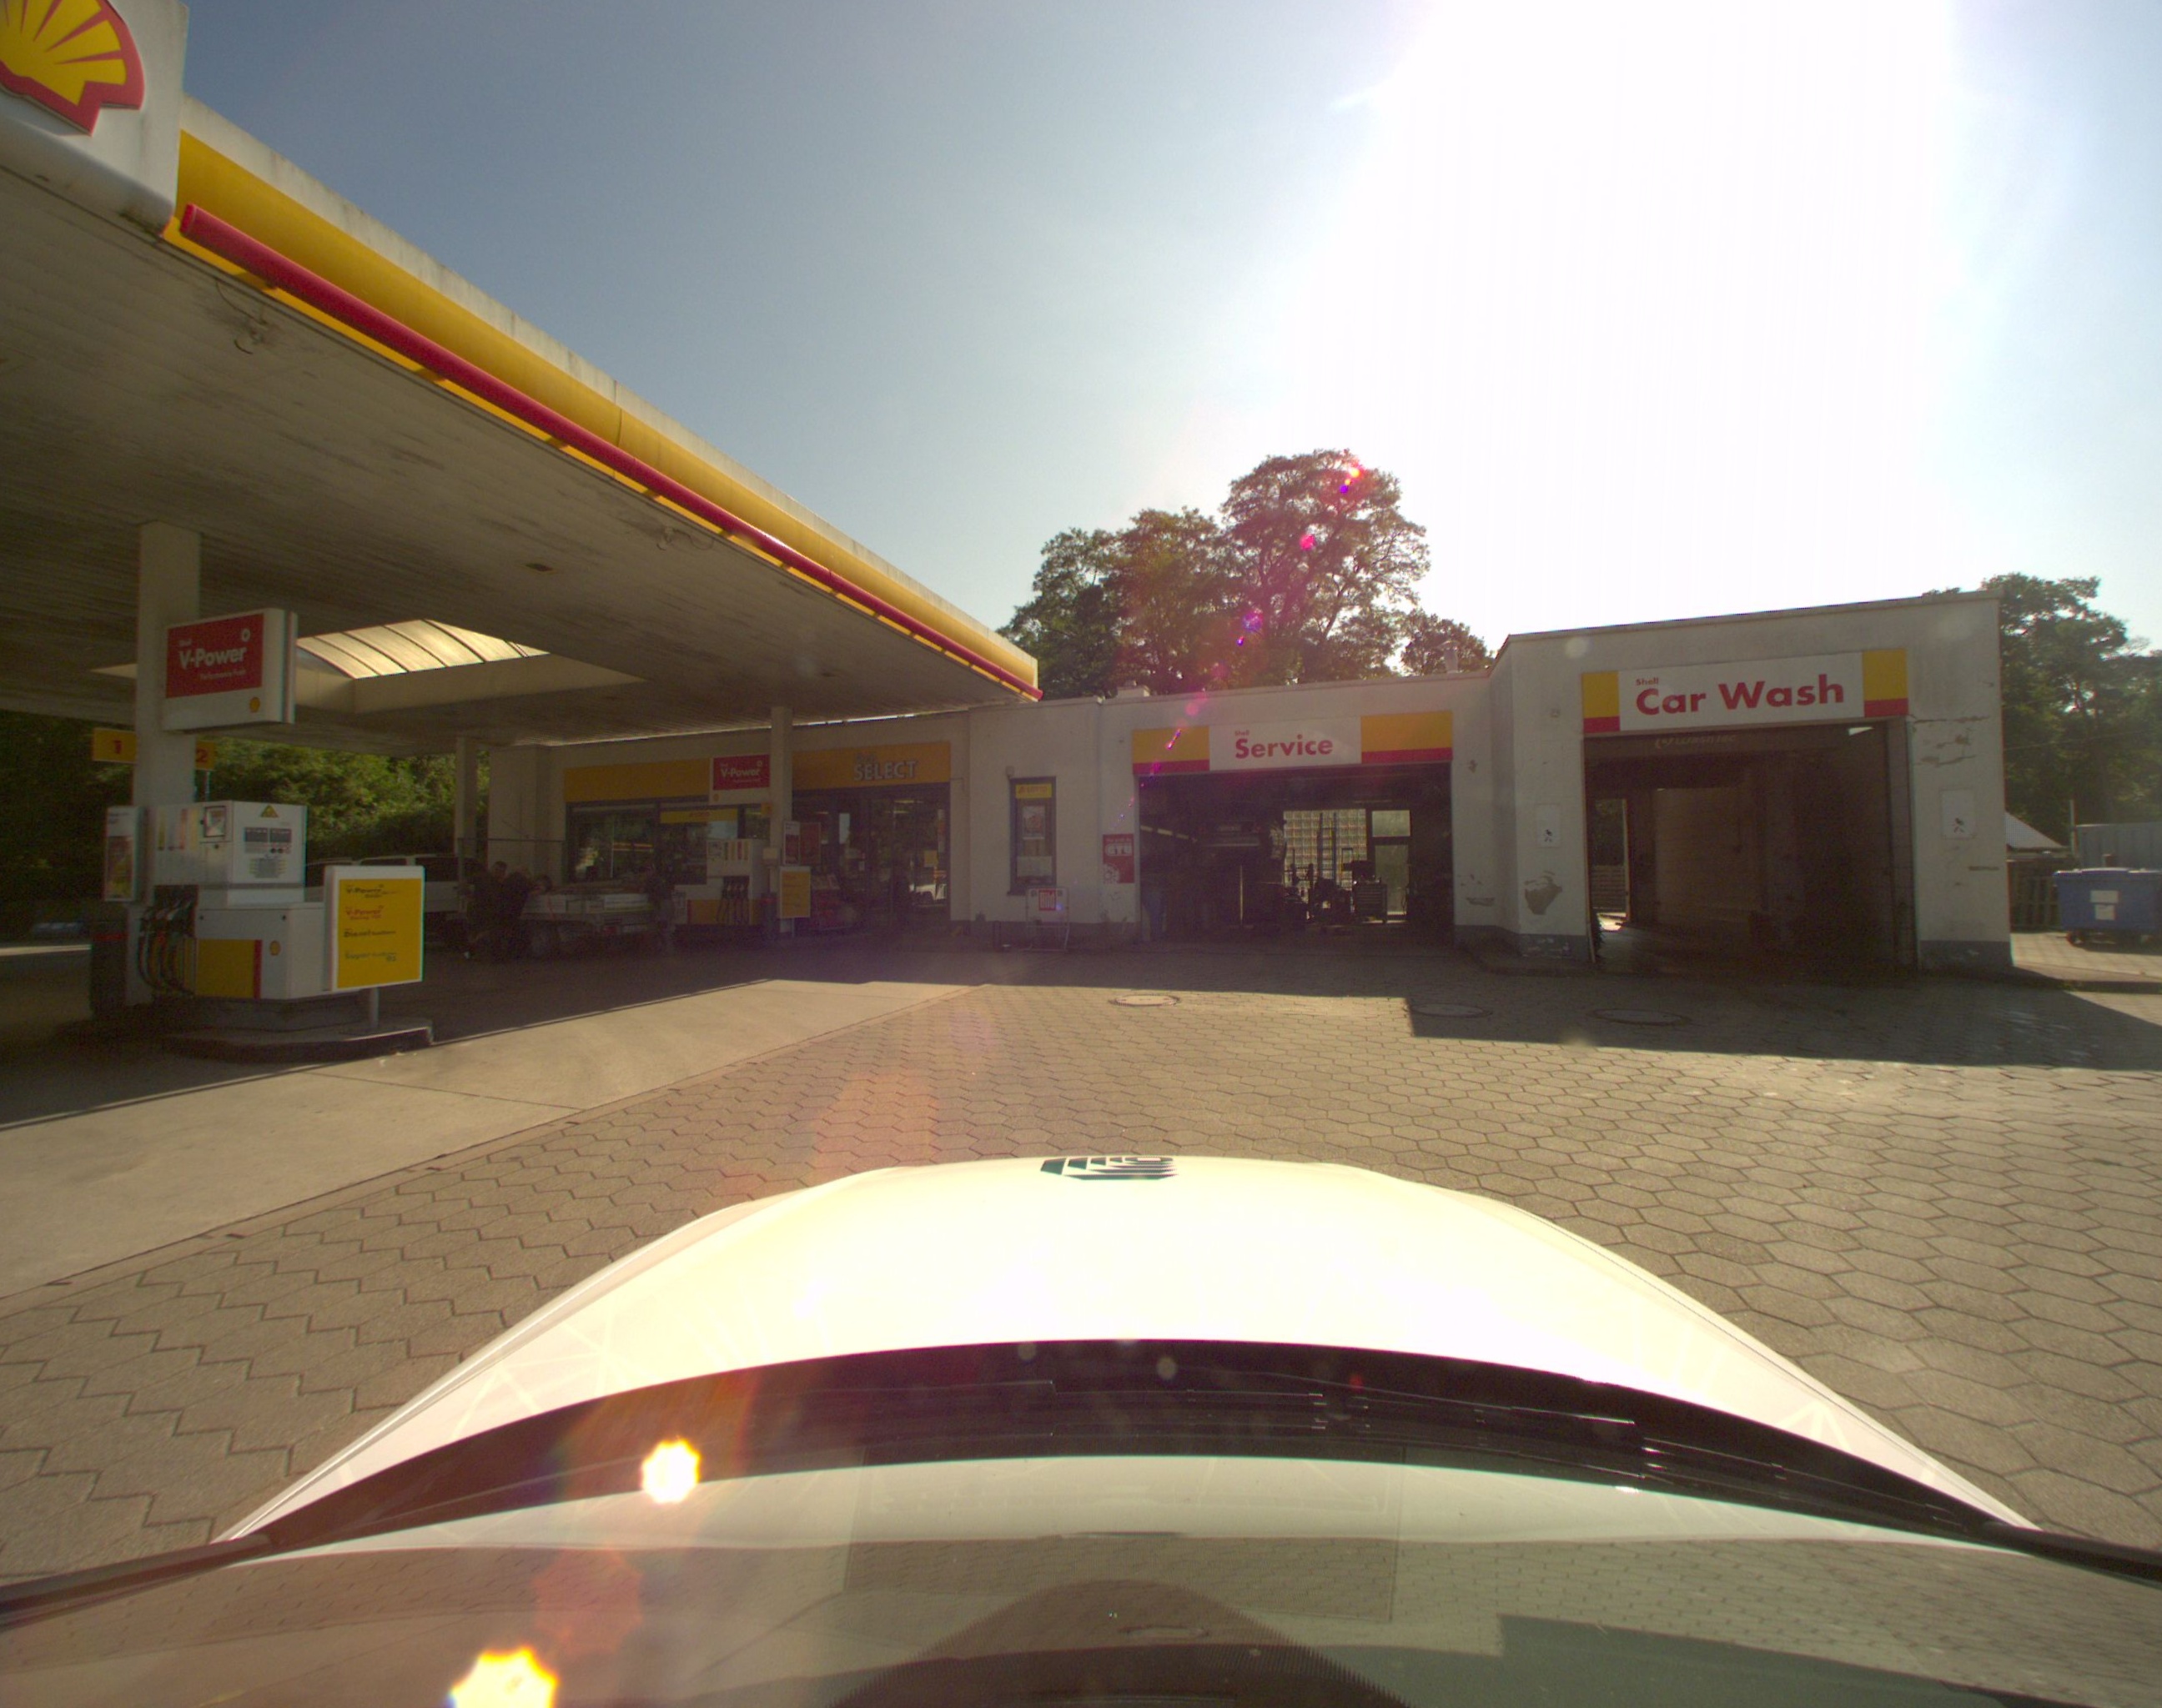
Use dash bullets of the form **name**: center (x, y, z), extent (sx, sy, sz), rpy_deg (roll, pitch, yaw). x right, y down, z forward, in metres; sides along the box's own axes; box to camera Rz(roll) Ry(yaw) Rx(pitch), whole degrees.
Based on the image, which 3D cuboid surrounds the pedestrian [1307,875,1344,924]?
- **pedestrian**: center (6.138, 1.144, 20.433), extent (0.856, 1.198, 0.746), rpy_deg (-2, -4, 18)

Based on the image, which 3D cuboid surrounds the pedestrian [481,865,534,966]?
- **pedestrian**: center (-9.219, 0.973, 13.106), extent (0.470, 1.593, 0.503), rpy_deg (-1, -2, 22)

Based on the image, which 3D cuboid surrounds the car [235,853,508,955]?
- **car**: center (-14.174, 0.975, 16.309), extent (4.727, 1.838, 1.865), rpy_deg (-1, -2, 17)

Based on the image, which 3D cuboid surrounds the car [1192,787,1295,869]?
- **car**: center (3.827, -0.486, 18.664), extent (1.632, 1.486, 4.019), rpy_deg (-2, -4, 21)

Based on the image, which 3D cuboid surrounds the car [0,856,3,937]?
- **car**: center (-10.329, 0.818, 5.901), extent (3.835, 1.579, 1.773), rpy_deg (-1, -2, 17)

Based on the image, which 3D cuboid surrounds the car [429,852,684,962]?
- **car**: center (-9.281, 0.922, 14.441), extent (3.952, 1.728, 1.843), rpy_deg (-2, -2, 22)

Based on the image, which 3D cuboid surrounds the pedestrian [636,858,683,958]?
- **pedestrian**: center (-7.146, 0.905, 13.809), extent (0.495, 1.668, 0.478), rpy_deg (-1, -2, 20)

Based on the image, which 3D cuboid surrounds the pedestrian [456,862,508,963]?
- **pedestrian**: center (-9.922, 0.964, 13.498), extent (0.470, 1.632, 0.503), rpy_deg (-1, -2, 22)

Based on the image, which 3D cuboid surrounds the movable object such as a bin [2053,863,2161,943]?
- **movable object such as a bin**: center (18.174, 0.837, 14.307), extent (0.851, 1.325, 1.224), rpy_deg (0, -2, -28)

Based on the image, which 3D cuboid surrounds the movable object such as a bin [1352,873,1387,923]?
- **movable object such as a bin**: center (7.247, 1.102, 20.440), extent (0.790, 1.236, 0.547), rpy_deg (-2, -4, 20)
